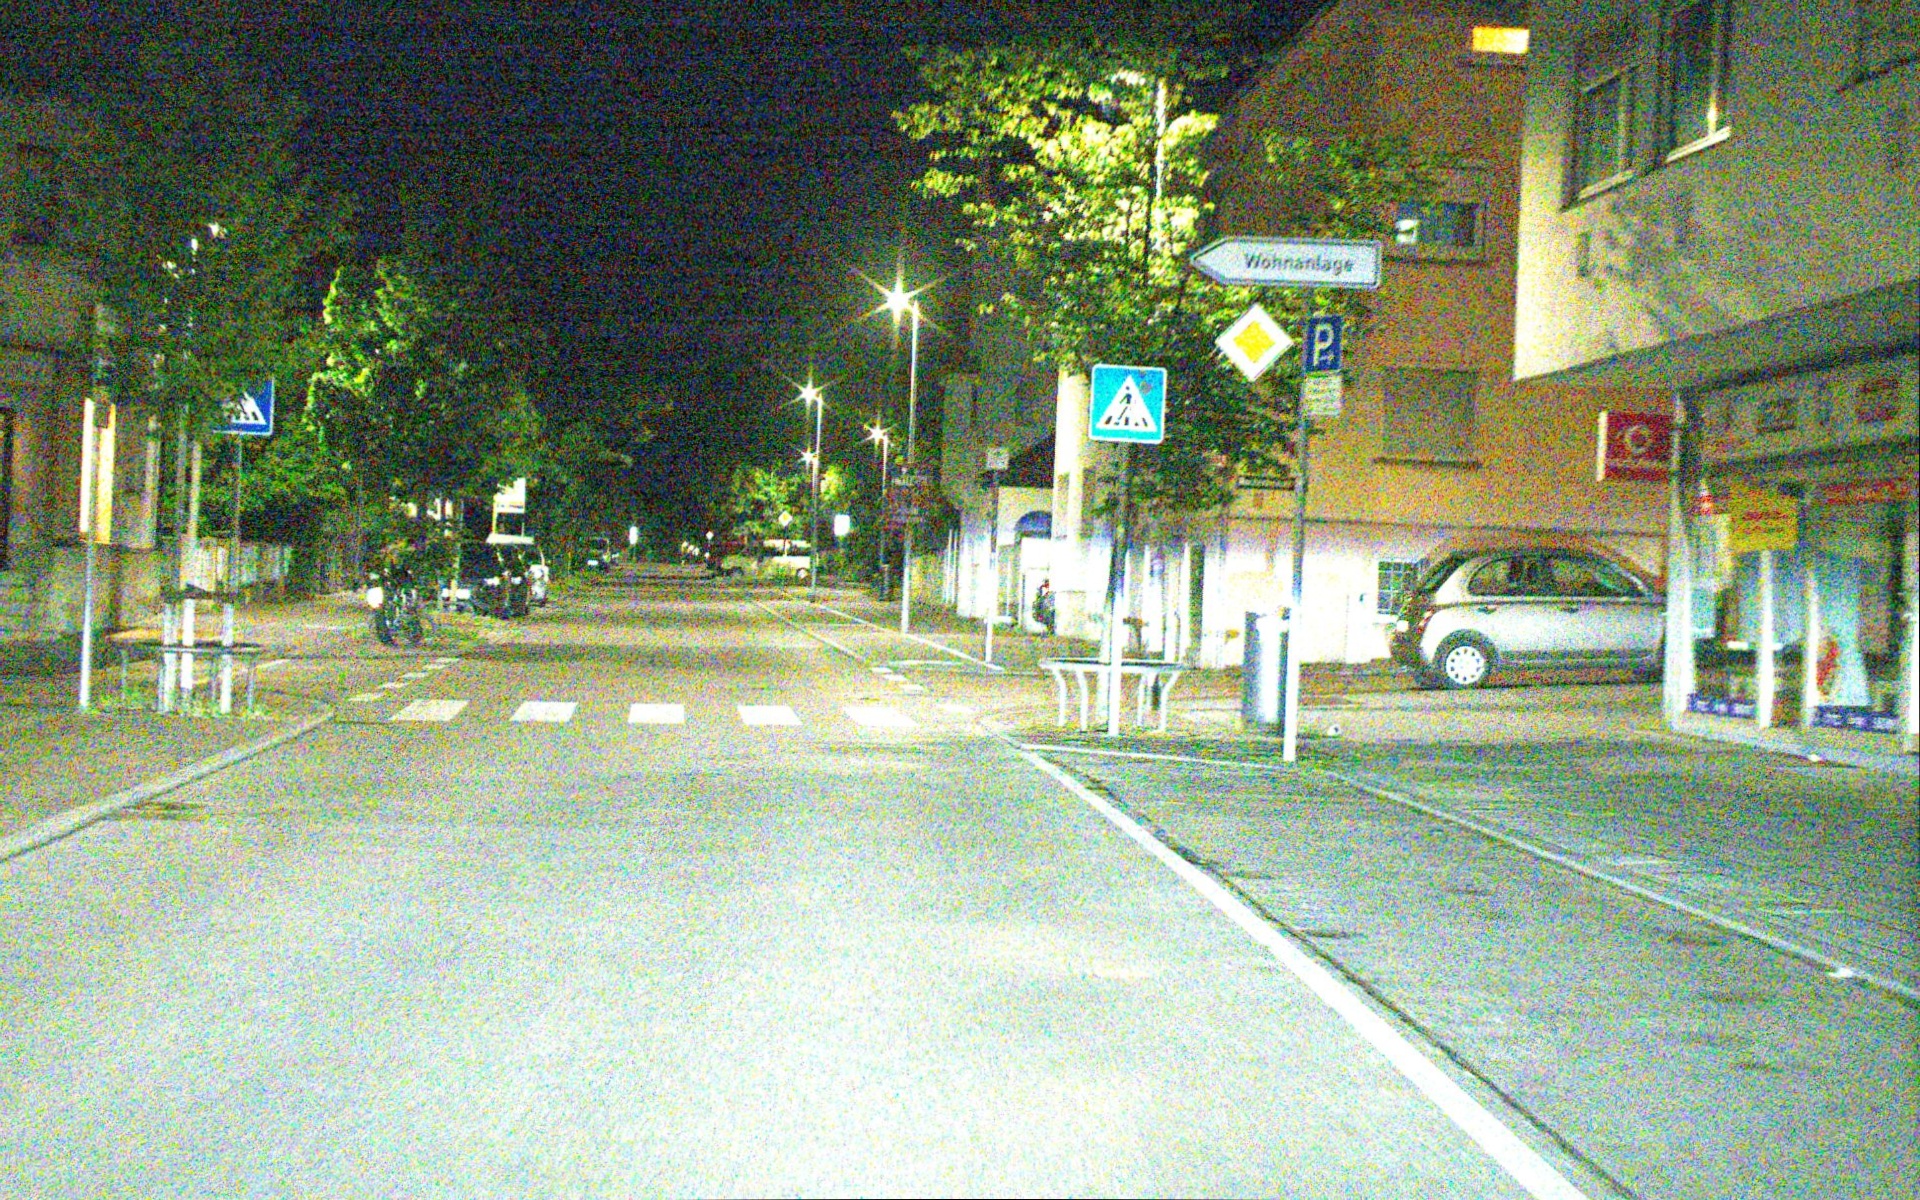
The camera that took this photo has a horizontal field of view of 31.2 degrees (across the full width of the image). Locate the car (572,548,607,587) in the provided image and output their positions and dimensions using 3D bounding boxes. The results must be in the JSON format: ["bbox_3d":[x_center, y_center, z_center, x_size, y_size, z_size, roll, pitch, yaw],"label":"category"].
[{"bbox_3d":[-21.095,-1.824,195.733,1.824,1.980,4.466,4,-2,-6],"label":"car"}]

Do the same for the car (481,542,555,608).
[{"bbox_3d":[-11.059,-0.637,86.087,1.671,1.517,2.979,4,0,-6],"label":"car"}]

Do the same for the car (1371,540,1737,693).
[{"bbox_3d":[6.393,0.165,37.230,3.505,1.519,1.821,-2,1,-5],"label":"car"}]

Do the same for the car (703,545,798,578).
[{"bbox_3d":[-11.997,-2.216,197.398,5.183,1.880,2.101,1,1,5],"label":"car"}]

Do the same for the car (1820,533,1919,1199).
[{"bbox_3d":[2.460,0.713,3.777,1.742,1.563,4.209,1,1,-3],"label":"car"}]

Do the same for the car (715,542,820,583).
[{"bbox_3d":[-9.680,-1.894,172.732,5.181,2.007,2.102,0,1,-6],"label":"car"}]

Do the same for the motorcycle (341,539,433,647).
[{"bbox_3d":[-7.948,-0.104,47.797,0.746,1.447,2.195,2,0,3],"label":"motorcycle"}]

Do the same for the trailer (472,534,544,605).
[{"bbox_3d":[-11.716,-0.793,89.292,1.448,1.682,3.426,4,0,-2],"label":"trailer"}]

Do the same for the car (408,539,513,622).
[{"bbox_3d":[-9.703,-0.392,66.971,1.688,1.505,4.279,2,1,-4],"label":"car"}]

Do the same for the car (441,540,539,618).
[{"bbox_3d":[-9.829,-0.458,72.118,1.766,1.514,4.279,3,1,-5],"label":"car"}]

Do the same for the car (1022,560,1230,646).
[{"bbox_3d":[3.089,0.048,64.524,3.711,1.468,1.730,2,0,-2],"label":"car"}]
